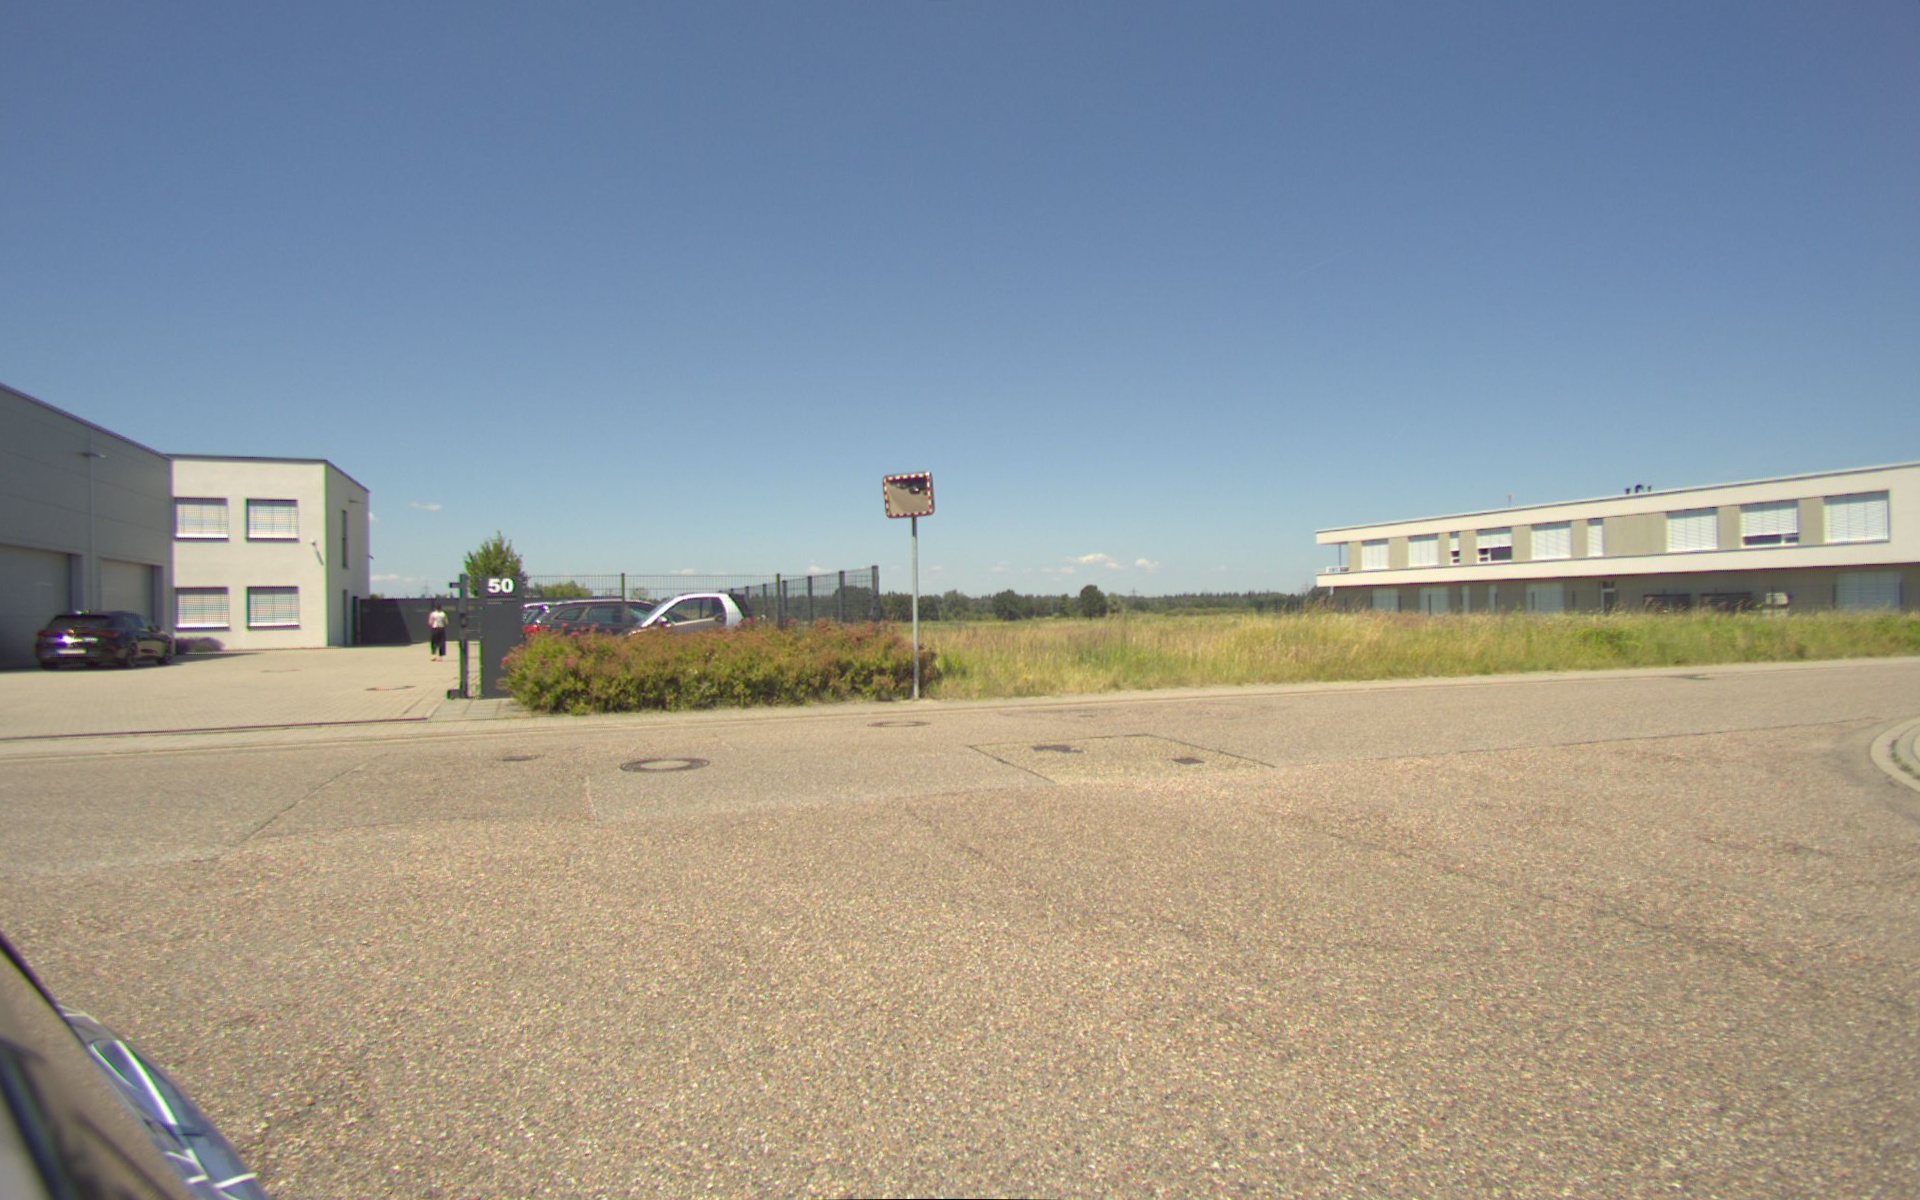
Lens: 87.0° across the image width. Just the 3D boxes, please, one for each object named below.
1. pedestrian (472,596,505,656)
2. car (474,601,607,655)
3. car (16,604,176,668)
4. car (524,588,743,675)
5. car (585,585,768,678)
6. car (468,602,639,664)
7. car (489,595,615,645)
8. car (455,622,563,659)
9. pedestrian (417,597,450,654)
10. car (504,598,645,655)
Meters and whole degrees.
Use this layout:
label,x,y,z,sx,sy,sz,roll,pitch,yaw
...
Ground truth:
label,x,y,z,sx,sy,sz,roll,pitch,yaw
pedestrian,-13.702,0.738,29.405,0.816,1.695,0.714,-1,0,-30
car,-13.691,0.875,33.081,3.930,1.617,1.682,-1,-1,-24
car,-21.138,0.834,24.962,1.767,1.431,3.883,-1,0,-20
car,-6.476,0.580,20.073,3.930,1.553,1.837,-1,-1,-24
car,-5.165,0.529,18.355,2.946,1.532,1.711,-1,-1,-24
car,-10.435,0.812,26.041,3.930,1.451,1.682,-1,-1,-24
car,-14.123,0.661,35.043,3.930,1.617,1.682,-1,0,-24
car,-18.256,1.616,41.146,3.931,1.320,2.007,-1,0,-22
pedestrian,-15.327,0.729,29.476,0.762,1.641,0.623,0,0,-36
car,-11.866,0.778,31.162,3.930,1.617,1.682,-1,-1,-24
